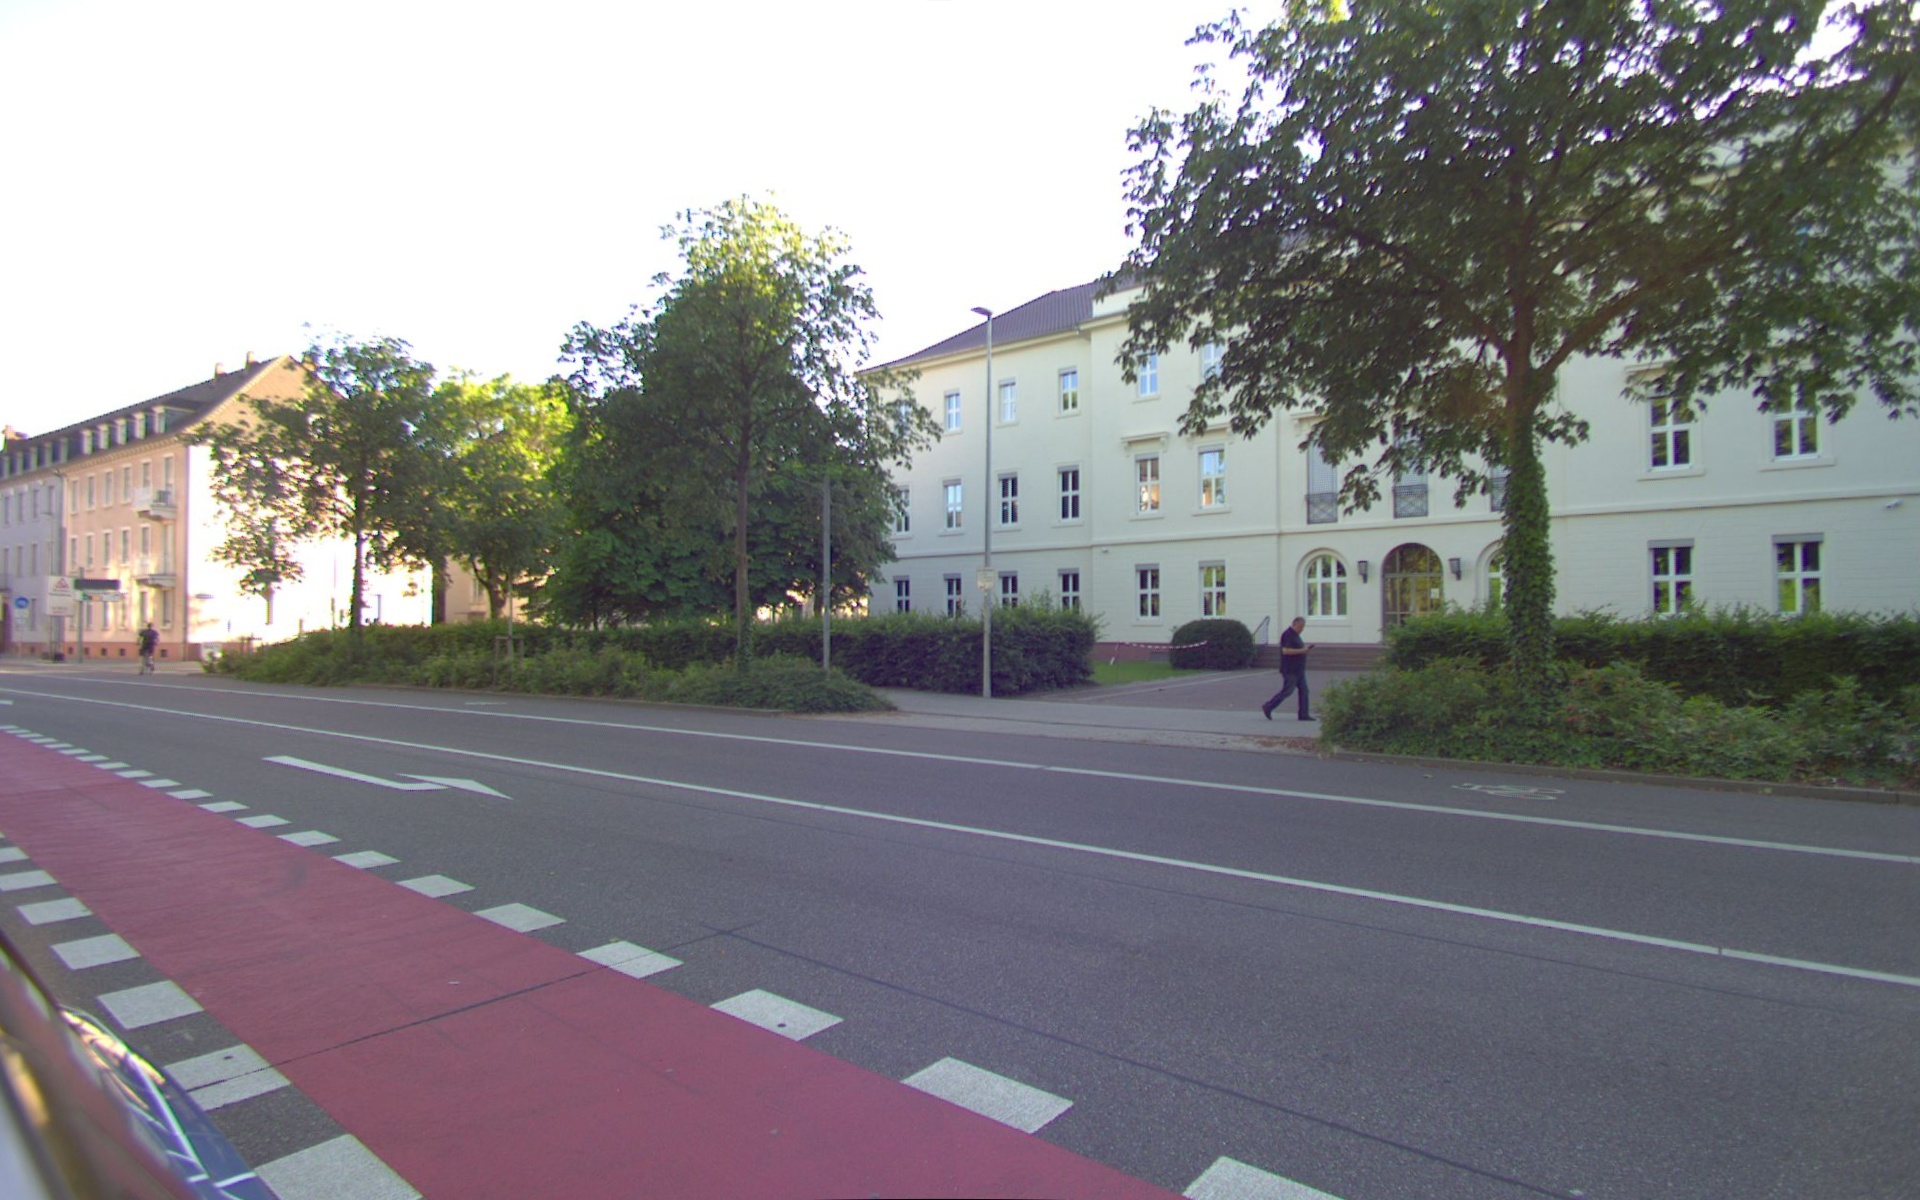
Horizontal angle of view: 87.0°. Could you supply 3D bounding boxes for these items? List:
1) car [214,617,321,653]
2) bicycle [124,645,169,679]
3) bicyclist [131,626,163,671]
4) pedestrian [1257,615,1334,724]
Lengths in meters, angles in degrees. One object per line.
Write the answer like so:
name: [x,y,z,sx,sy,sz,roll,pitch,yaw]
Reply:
car: [-34.524,1.733,50.520,1.993,1.674,3.958,-1,-1,31]
bicycle: [-29.233,2.208,36.356,2.242,1.168,0.688,-2,-4,38]
bicyclist: [-29.224,1.734,36.377,0.837,1.574,0.683,-2,-4,37]
pedestrian: [5.559,1.137,16.772,0.967,1.733,0.826,-2,-3,40]
